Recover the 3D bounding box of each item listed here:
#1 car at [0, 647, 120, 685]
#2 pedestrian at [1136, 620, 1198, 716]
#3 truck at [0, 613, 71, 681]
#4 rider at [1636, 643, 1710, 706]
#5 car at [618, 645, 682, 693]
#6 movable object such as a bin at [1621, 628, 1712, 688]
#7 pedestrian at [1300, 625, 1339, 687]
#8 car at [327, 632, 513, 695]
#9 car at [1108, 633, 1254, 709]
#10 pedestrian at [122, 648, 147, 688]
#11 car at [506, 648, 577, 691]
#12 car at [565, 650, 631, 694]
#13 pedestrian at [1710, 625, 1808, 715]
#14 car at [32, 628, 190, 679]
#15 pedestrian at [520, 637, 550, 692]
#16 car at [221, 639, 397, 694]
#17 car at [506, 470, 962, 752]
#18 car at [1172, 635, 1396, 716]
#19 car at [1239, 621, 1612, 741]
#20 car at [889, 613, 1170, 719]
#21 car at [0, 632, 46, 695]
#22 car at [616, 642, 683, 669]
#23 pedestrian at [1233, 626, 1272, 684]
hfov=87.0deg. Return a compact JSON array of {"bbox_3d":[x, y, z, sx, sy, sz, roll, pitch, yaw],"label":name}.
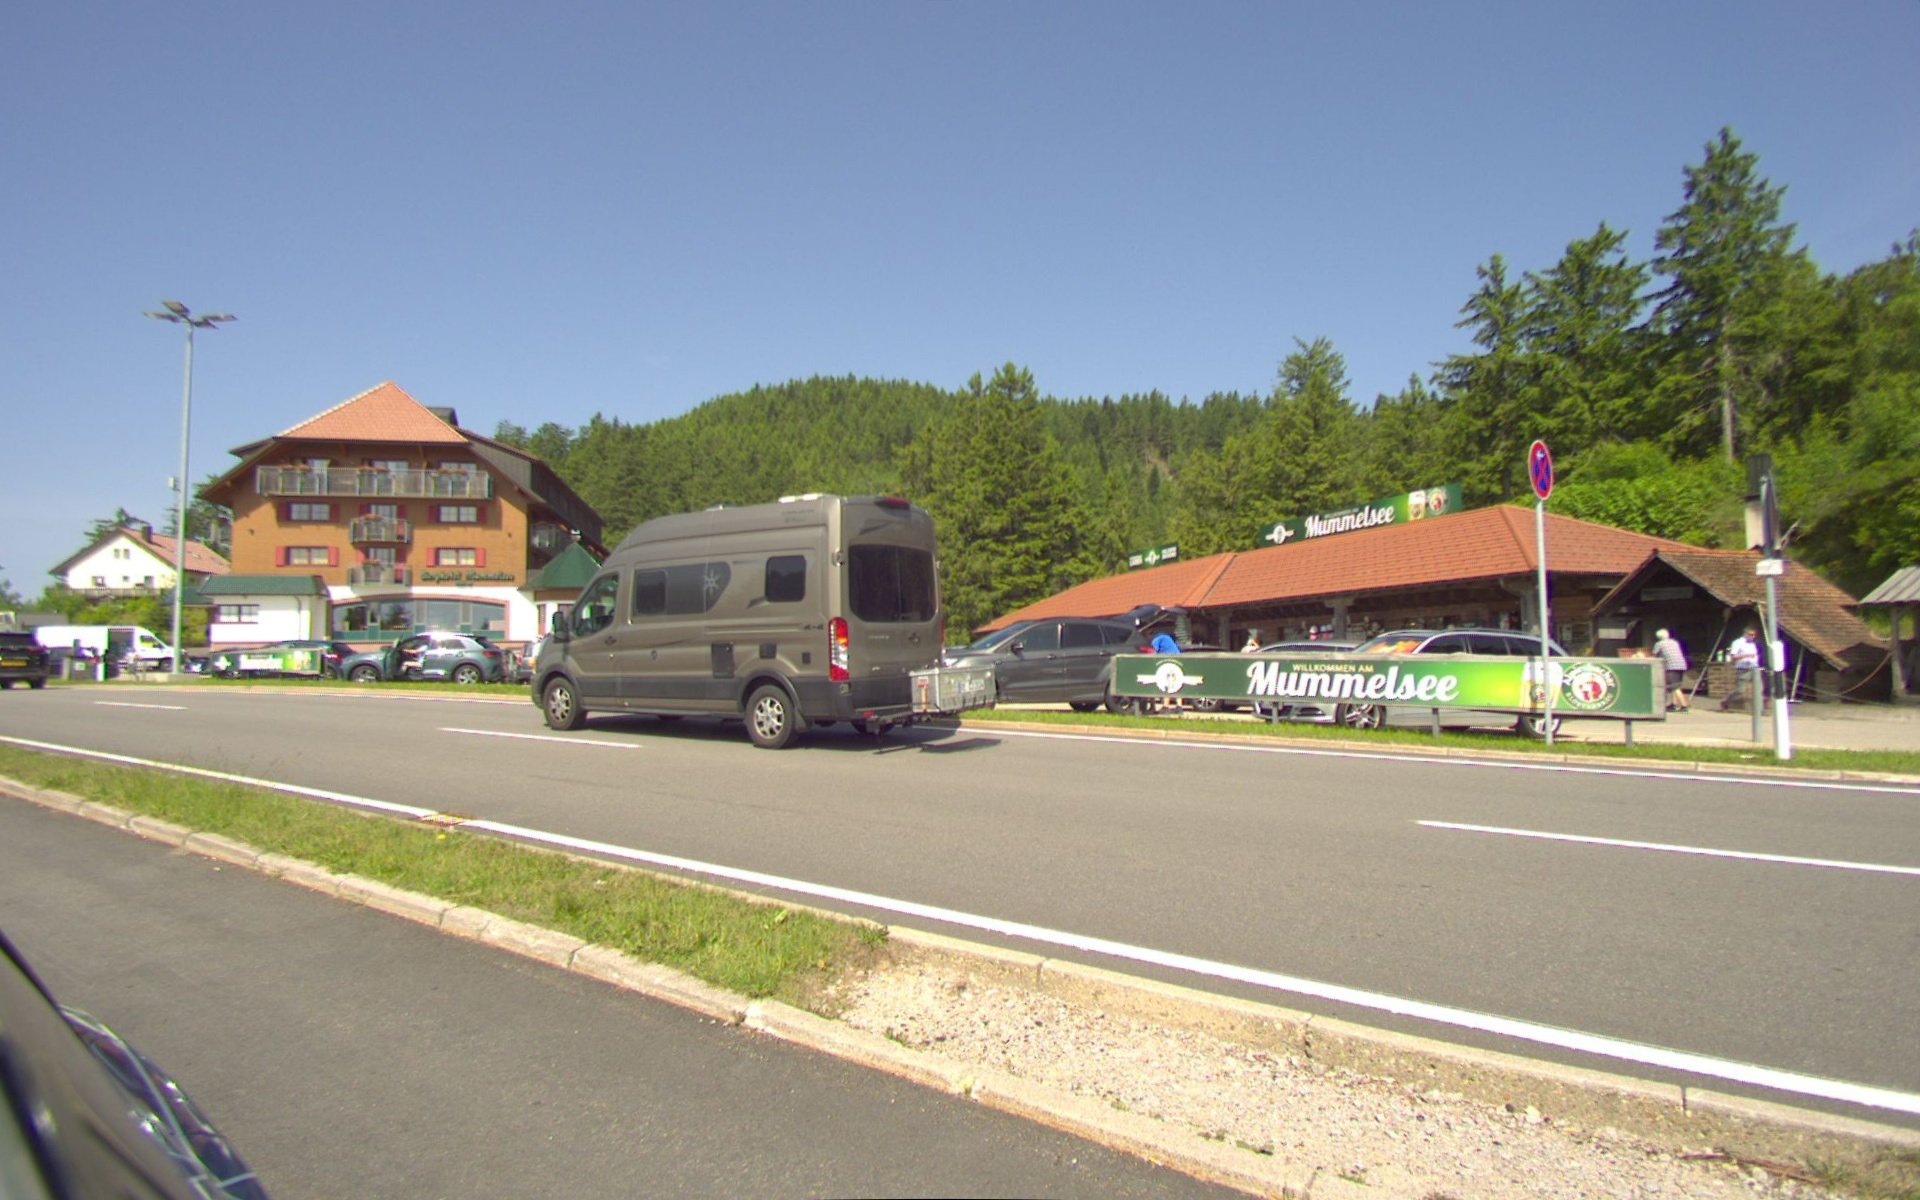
[{"bbox_3d":[-37.657,2.727,41.890,4.024,1.539,1.830,1,-3,-19],"label":"car"},{"bbox_3d":[3.664,1.190,17.974,0.733,1.648,0.849,1,-3,-18],"label":"pedestrian"},{"bbox_3d":[-56.990,2.865,60.450,2.834,3.850,9.045,-1,-2,-21],"label":"truck"},{"bbox_3d":[14.822,1.530,21.074,0.826,1.284,0.910,0,-2,-5],"label":"rider"},{"bbox_3d":[-10.615,2.342,34.856,1.794,1.524,4.105,1,-3,-13],"label":"car"},{"bbox_3d":[14.767,1.203,21.182,0.969,1.198,1.218,0,-2,-5],"label":"movable object such as a bin"},{"bbox_3d":[11.830,1.828,33.337,0.911,2.029,0.725,1,-2,-22],"label":"pedestrian"},{"bbox_3d":[-14.812,1.753,27.998,4.199,1.641,1.829,1,-3,-15],"label":"car"},{"bbox_3d":[5.374,1.723,25.228,1.888,1.729,4.106,1,-3,-15],"label":"car"},{"bbox_3d":[-39.387,3.236,48.297,0.662,1.878,0.754,1,-3,-19],"label":"pedestrian"},{"bbox_3d":[-15.754,2.595,38.257,1.794,1.524,4.105,1,-3,-13],"label":"car"},{"bbox_3d":[-13.199,2.601,37.123,1.794,1.524,4.105,1,-3,-13],"label":"car"},{"bbox_3d":[15.847,1.367,20.093,0.962,1.711,1.166,1,-3,-25],"label":"pedestrian"},{"bbox_3d":[-49.321,3.087,59.028,6.855,2.812,2.671,2,-3,-40],"label":"car"},{"bbox_3d":[-12.908,1.938,30.738,0.733,1.637,0.685,1,-3,-28],"label":"pedestrian"},{"bbox_3d":[-20.154,2.063,31.529,4.199,1.641,1.829,1,-3,-15],"label":"car"},{"bbox_3d":[-2.957,0.213,12.447,5.902,2.772,1.994,-2,-3,35],"label":"car"},{"bbox_3d":[6.258,1.426,19.637,3.973,1.441,1.709,-1,-3,23],"label":"car"},{"bbox_3d":[6.212,1.061,13.627,4.427,1.441,1.726,1,-3,-14],"label":"car"},{"bbox_3d":[1.171,1.126,17.434,4.474,1.669,1.727,1,-3,-17],"label":"car"},{"bbox_3d":[-27.860,1.776,28.765,4.116,1.695,1.703,-2,-3,32],"label":"car"},{"bbox_3d":[-19.994,3.579,65.383,4.026,1.729,1.925,1,-3,-14],"label":"car"},{"bbox_3d":[10.394,1.939,35.969,0.948,2.029,0.859,1,-2,-21],"label":"pedestrian"}]
